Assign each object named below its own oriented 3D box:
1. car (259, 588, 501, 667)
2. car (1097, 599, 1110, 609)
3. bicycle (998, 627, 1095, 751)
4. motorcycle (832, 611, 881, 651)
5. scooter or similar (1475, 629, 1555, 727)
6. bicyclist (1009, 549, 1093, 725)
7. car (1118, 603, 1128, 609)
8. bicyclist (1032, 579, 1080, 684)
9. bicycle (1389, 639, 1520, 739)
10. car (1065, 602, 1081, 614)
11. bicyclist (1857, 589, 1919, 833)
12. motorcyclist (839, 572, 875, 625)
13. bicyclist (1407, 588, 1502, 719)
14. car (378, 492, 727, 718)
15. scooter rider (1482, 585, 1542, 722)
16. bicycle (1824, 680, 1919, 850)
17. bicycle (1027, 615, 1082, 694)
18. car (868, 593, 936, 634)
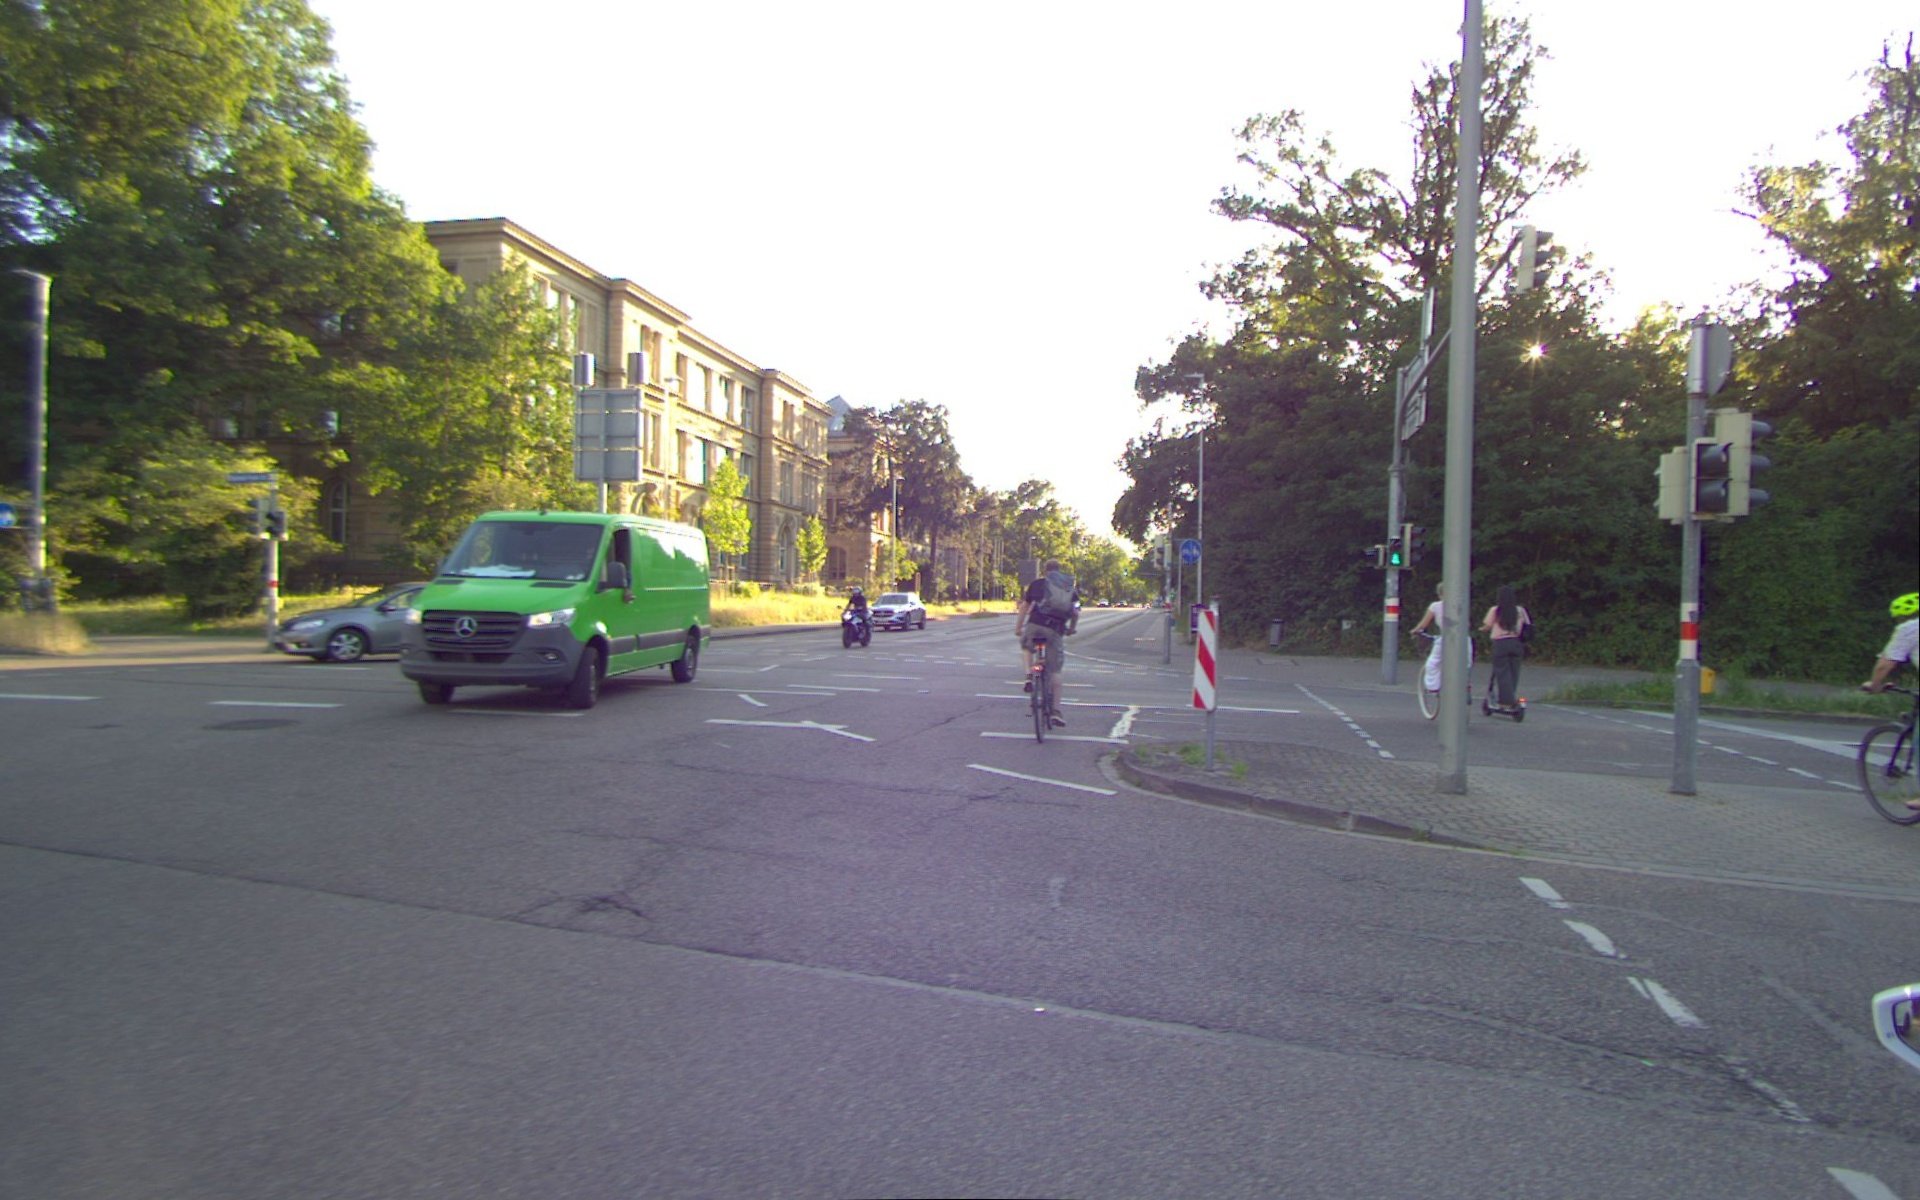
[{"bbox_3d":[-10.994,0.488,19.225,1.742,1.346,3.629,1,0,37],"label":"car"},{"bbox_3d":[24.060,0.703,168.402,1.959,1.662,4.002,1,0,9],"label":"car"},{"bbox_3d":[0.922,0.850,10.255,0.687,1.077,1.826,2,0,13],"label":"bicycle"},{"bbox_3d":[-2.763,0.813,27.118,0.741,1.014,1.880,1,0,13],"label":"motorcycle"},{"bbox_3d":[7.401,1.010,13.445,0.552,1.205,1.423,2,0,14],"label":"scooter or similar"},{"bbox_3d":[0.941,0.361,10.242,0.686,1.689,0.798,3,1,13],"label":"bicyclist"},{"bbox_3d":[35.984,1.418,221.976,1.959,1.283,4.002,1,0,11],"label":"car"},{"bbox_3d":[1.554,0.486,16.117,0.593,1.607,0.910,2,0,13],"label":"bicyclist"},{"bbox_3d":[6.058,1.051,12.438,0.758,1.020,2.017,2,0,5],"label":"bicycle"},{"bbox_3d":[13.862,0.962,122.659,1.740,1.494,3.778,1,0,9],"label":"car"},{"bbox_3d":[6.587,0.730,6.692,0.544,1.590,0.899,1,0,16],"label":"bicyclist"},{"bbox_3d":[-2.767,-0.039,27.010,0.736,1.376,0.704,1,0,13],"label":"motorcyclist"},{"bbox_3d":[6.064,0.634,12.363,0.747,1.538,0.857,2,1,5],"label":"bicyclist"},{"bbox_3d":[-4.922,0.054,13.394,2.004,2.308,5.942,1,0,2],"label":"car"},{"bbox_3d":[7.422,0.709,13.523,0.556,1.790,0.505,1,0,14],"label":"scooter rider"},{"bbox_3d":[6.567,1.114,6.653,0.554,1.028,1.803,1,0,16],"label":"bicycle"},{"bbox_3d":[1.542,0.836,16.103,0.603,1.153,1.885,2,1,13],"label":"bicycle"},{"bbox_3d":[-2.455,0.565,43.874,1.734,1.657,4.515,1,0,13],"label":"car"}]
